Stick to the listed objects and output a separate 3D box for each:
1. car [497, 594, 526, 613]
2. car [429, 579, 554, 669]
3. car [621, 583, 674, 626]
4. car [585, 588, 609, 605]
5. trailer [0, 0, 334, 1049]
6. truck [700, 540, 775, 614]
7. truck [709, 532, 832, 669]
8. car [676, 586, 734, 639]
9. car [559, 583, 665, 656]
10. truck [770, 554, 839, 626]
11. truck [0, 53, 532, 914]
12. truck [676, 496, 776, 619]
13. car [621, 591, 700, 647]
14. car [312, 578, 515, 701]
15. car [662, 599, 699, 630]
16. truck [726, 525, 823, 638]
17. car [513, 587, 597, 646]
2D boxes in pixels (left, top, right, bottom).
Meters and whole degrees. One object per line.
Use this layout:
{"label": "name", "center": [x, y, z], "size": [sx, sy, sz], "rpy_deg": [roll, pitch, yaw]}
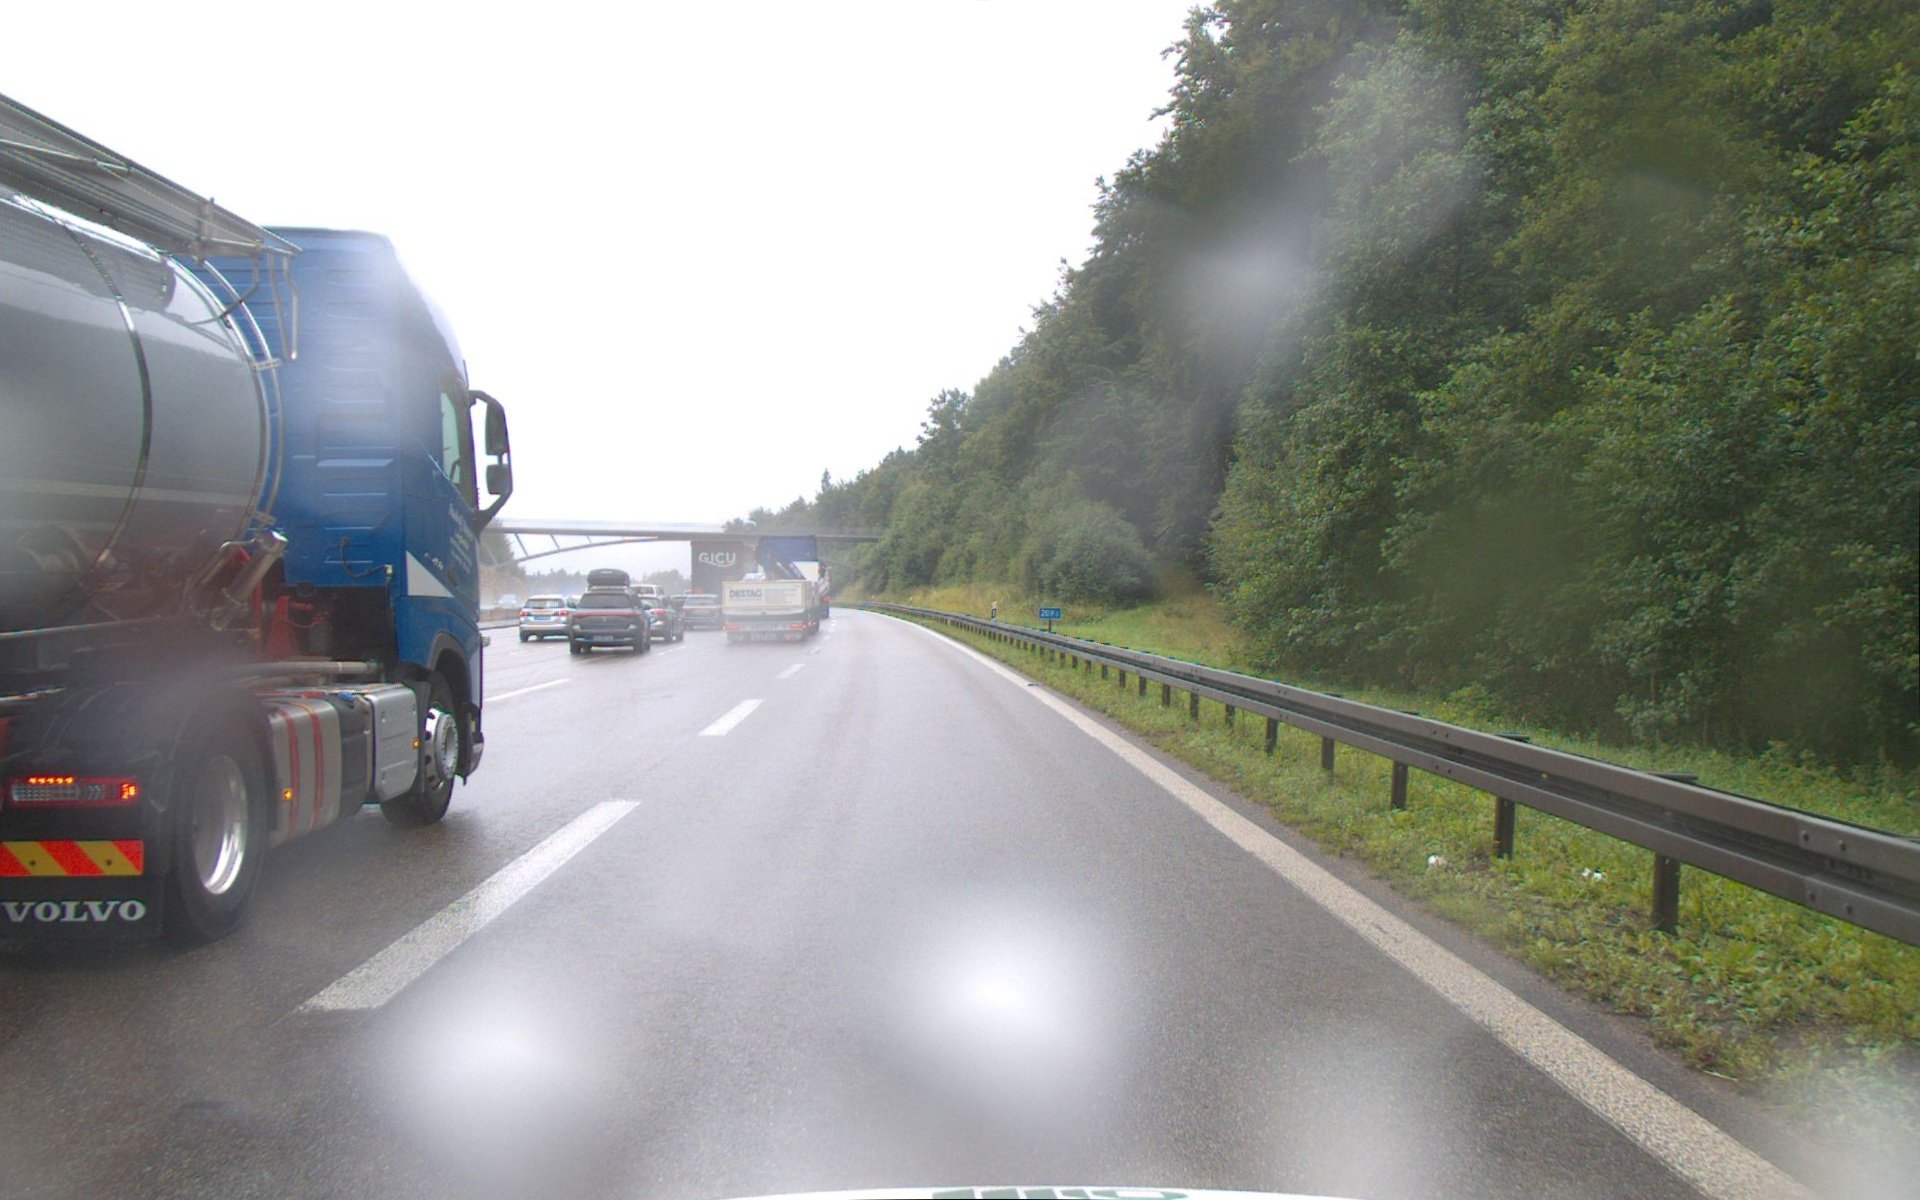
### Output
{"label": "car", "center": [-44.892, 0.333, 165.482], "size": [1.954, 1.816, 3.998], "rpy_deg": [0, 0, -3]}
{"label": "car", "center": [-10.826, 0.576, 38.494], "size": [1.761, 1.870, 3.998], "rpy_deg": [4, -2, -2]}
{"label": "car", "center": [-14.971, 0.245, 79.399], "size": [1.807, 1.892, 3.997], "rpy_deg": [4, -2, -3]}
{"label": "car", "center": [-40.474, -0.407, 184.406], "size": [1.954, 1.862, 3.998], "rpy_deg": [0, 0, -3]}
{"label": "trailer", "center": [-4.301, -0.276, 3.008], "size": [2.816, 3.346, 10.074], "rpy_deg": [0, 0, -2]}
{"label": "truck", "center": [-13.842, -1.323, 103.618], "size": [3.504, 4.167, 10.874], "rpy_deg": [1, -2, -2]}
{"label": "truck", "center": [-6.240, -0.021, 56.315], "size": [3.528, 4.177, 11.551], "rpy_deg": [0, 0, -4]}
{"label": "car", "center": [-10.671, 0.552, 69.445], "size": [1.757, 2.049, 3.998], "rpy_deg": [4, -2, -2]}
{"label": "car", "center": [-8.935, 0.532, 42.777], "size": [1.954, 1.665, 3.998], "rpy_deg": [4, -2, -2]}
{"label": "truck", "center": [-9.751, -0.513, 104.972], "size": [3.681, 4.040, 11.050], "rpy_deg": [4, -2, -3]}
{"label": "truck", "center": [-4.526, -0.524, 9.733], "size": [2.819, 3.758, 5.054], "rpy_deg": [0, 0, -2]}
{"label": "truck", "center": [-11.959, -2.021, 85.630], "size": [3.679, 5.595, 10.168], "rpy_deg": [4, -2, -2]}
{"label": "car", "center": [-9.356, 0.566, 51.886], "size": [1.899, 1.691, 3.998], "rpy_deg": [0, 0, -2]}
{"label": "car", "center": [-8.658, 0.558, 26.642], "size": [1.808, 1.781, 4.566], "rpy_deg": [-1, 0, -1]}
{"label": "car", "center": [-17.028, 0.898, 100.826], "size": [1.815, 1.691, 3.995], "rpy_deg": [4, -2, -5]}
{"label": "truck", "center": [-7.916, -0.613, 72.031], "size": [3.438, 4.342, 10.593], "rpy_deg": [4, -2, -4]}
{"label": "car", "center": [-13.293, 0.584, 54.468], "size": [1.750, 1.777, 3.998], "rpy_deg": [4, -2, -1]}
